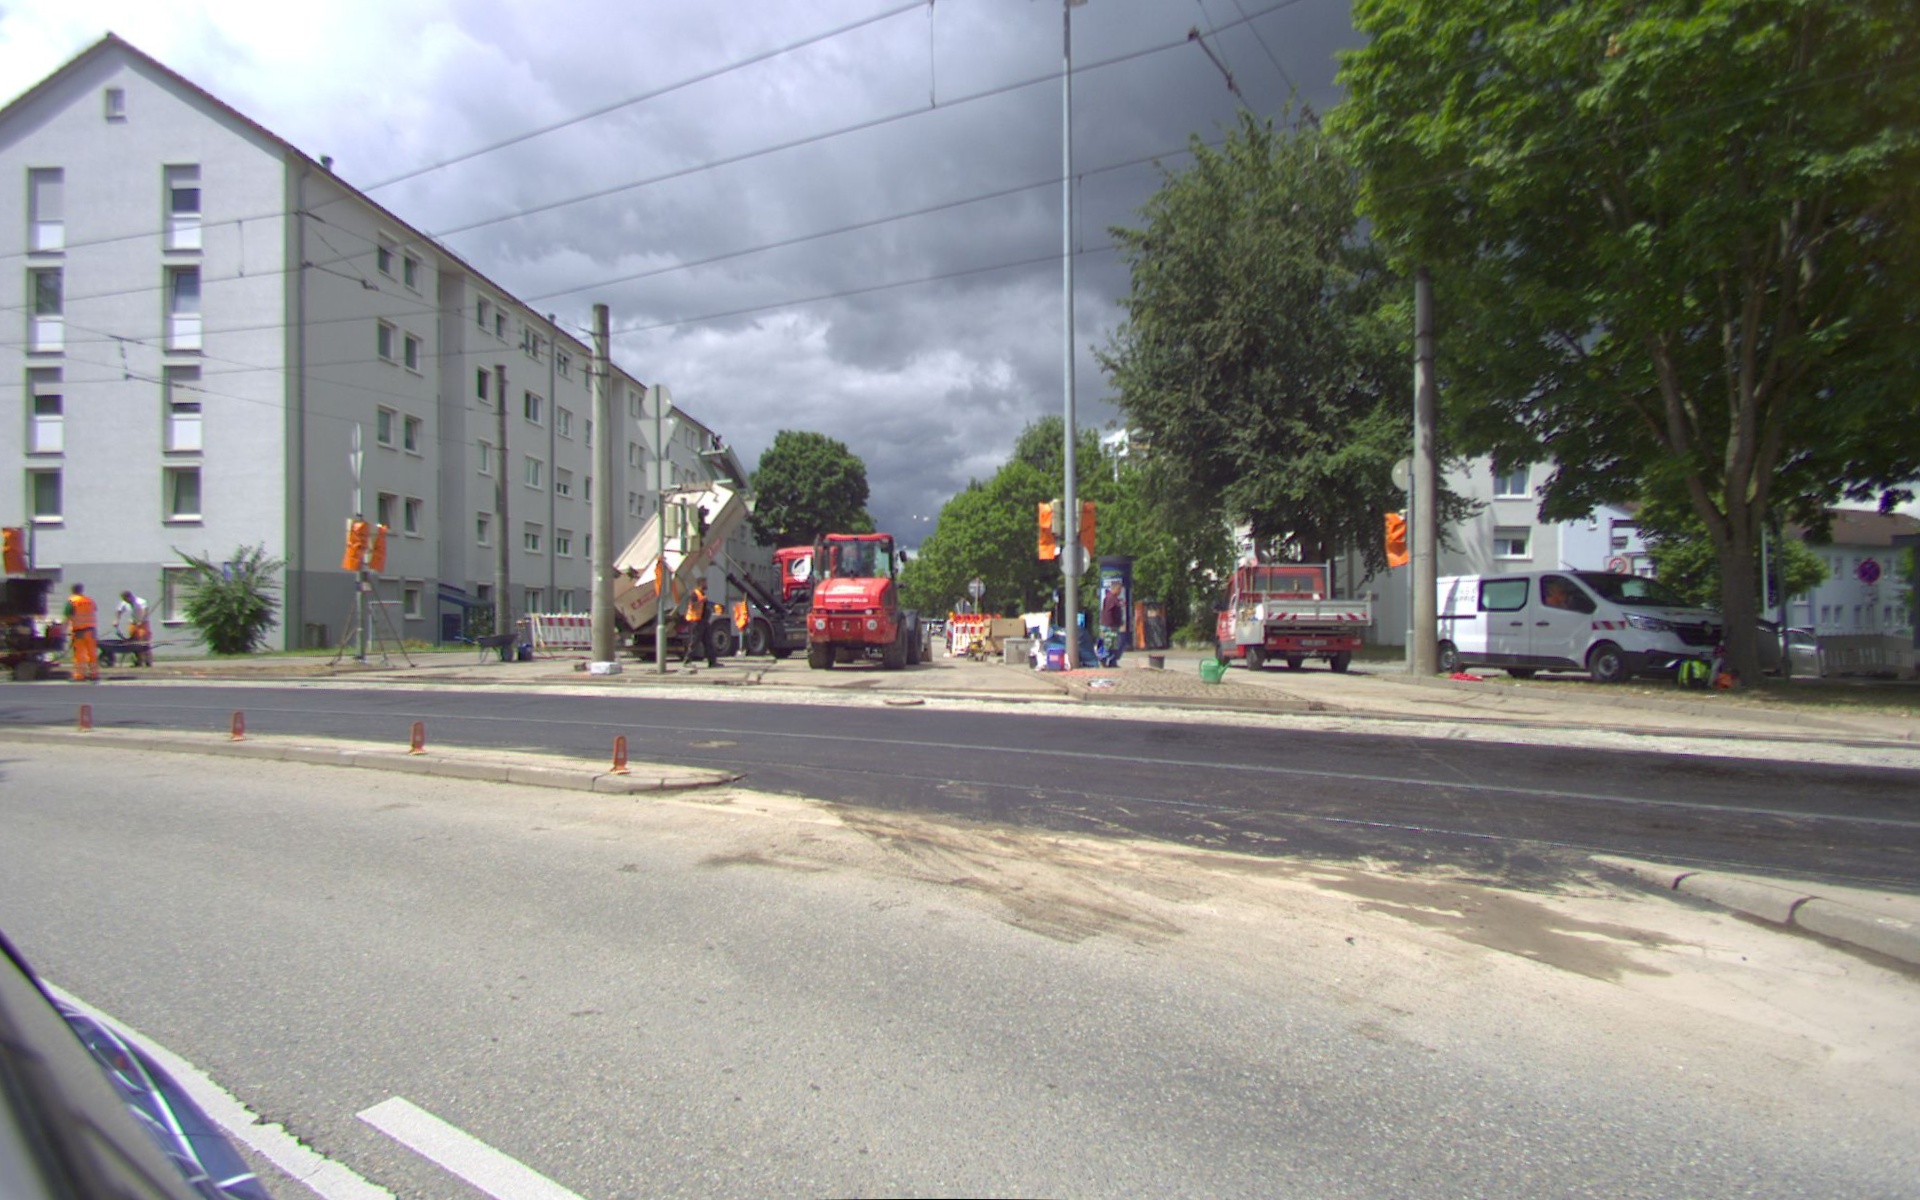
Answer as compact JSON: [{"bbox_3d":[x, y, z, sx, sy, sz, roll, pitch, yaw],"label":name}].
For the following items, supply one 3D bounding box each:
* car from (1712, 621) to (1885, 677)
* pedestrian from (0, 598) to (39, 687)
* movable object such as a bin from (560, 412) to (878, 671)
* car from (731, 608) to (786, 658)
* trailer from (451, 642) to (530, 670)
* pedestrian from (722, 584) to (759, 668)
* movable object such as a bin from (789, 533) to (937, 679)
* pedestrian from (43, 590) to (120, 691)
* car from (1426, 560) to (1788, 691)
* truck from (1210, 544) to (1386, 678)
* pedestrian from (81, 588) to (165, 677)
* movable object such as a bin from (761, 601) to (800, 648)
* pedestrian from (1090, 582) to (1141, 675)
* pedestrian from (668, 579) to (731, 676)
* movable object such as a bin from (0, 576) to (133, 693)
[{"bbox_3d":[22.916,1.308,27.706,3.810,1.470,1.783,0,-2,-16],"label":"car"},{"bbox_3d":[-18.979,0.831,19.950,0.909,1.729,0.856,-1,-1,11],"label":"pedestrian"},{"bbox_3d":[-5.713,-1.128,26.201,2.808,5.527,8.949,-1,-2,28],"label":"movable object such as a bin"},{"bbox_3d":[-8.098,1.323,40.996,1.968,1.896,4.350,0,-2,-8],"label":"car"},{"bbox_3d":[-10.604,1.254,22.859,1.588,0.621,0.791,-1,-2,25],"label":"trailer"},{"bbox_3d":[-4.814,0.574,22.225,0.604,1.802,0.581,-2,-1,4],"label":"pedestrian"},{"bbox_3d":[-1.872,0.128,21.473,2.090,2.689,5.578,0,0,6],"label":"movable object such as a bin"},{"bbox_3d":[-16.580,0.756,19.115,0.757,1.853,0.784,0,-1,-2],"label":"pedestrian"},{"bbox_3d":[10.715,0.426,17.404,1.966,1.901,5.265,0,-1,-15],"label":"car"},{"bbox_3d":[7.245,0.321,22.467,2.389,2.588,5.574,-1,-2,5],"label":"truck"},{"bbox_3d":[-17.747,0.680,21.488,0.862,1.838,1.096,-1,-1,0],"label":"pedestrian"},{"bbox_3d":[-9.467,1.307,53.521,1.968,2.428,4.008,0,-2,-9],"label":"movable object such as a bin"},{"bbox_3d":[2.901,0.530,18.959,0.864,1.672,0.927,-1,-1,6],"label":"pedestrian"},{"bbox_3d":[-5.114,0.529,19.921,0.961,1.846,0.794,0,0,10],"label":"pedestrian"},{"bbox_3d":[-17.594,0.635,18.842,2.935,2.029,1.994,-1,-1,10],"label":"movable object such as a bin"}]
